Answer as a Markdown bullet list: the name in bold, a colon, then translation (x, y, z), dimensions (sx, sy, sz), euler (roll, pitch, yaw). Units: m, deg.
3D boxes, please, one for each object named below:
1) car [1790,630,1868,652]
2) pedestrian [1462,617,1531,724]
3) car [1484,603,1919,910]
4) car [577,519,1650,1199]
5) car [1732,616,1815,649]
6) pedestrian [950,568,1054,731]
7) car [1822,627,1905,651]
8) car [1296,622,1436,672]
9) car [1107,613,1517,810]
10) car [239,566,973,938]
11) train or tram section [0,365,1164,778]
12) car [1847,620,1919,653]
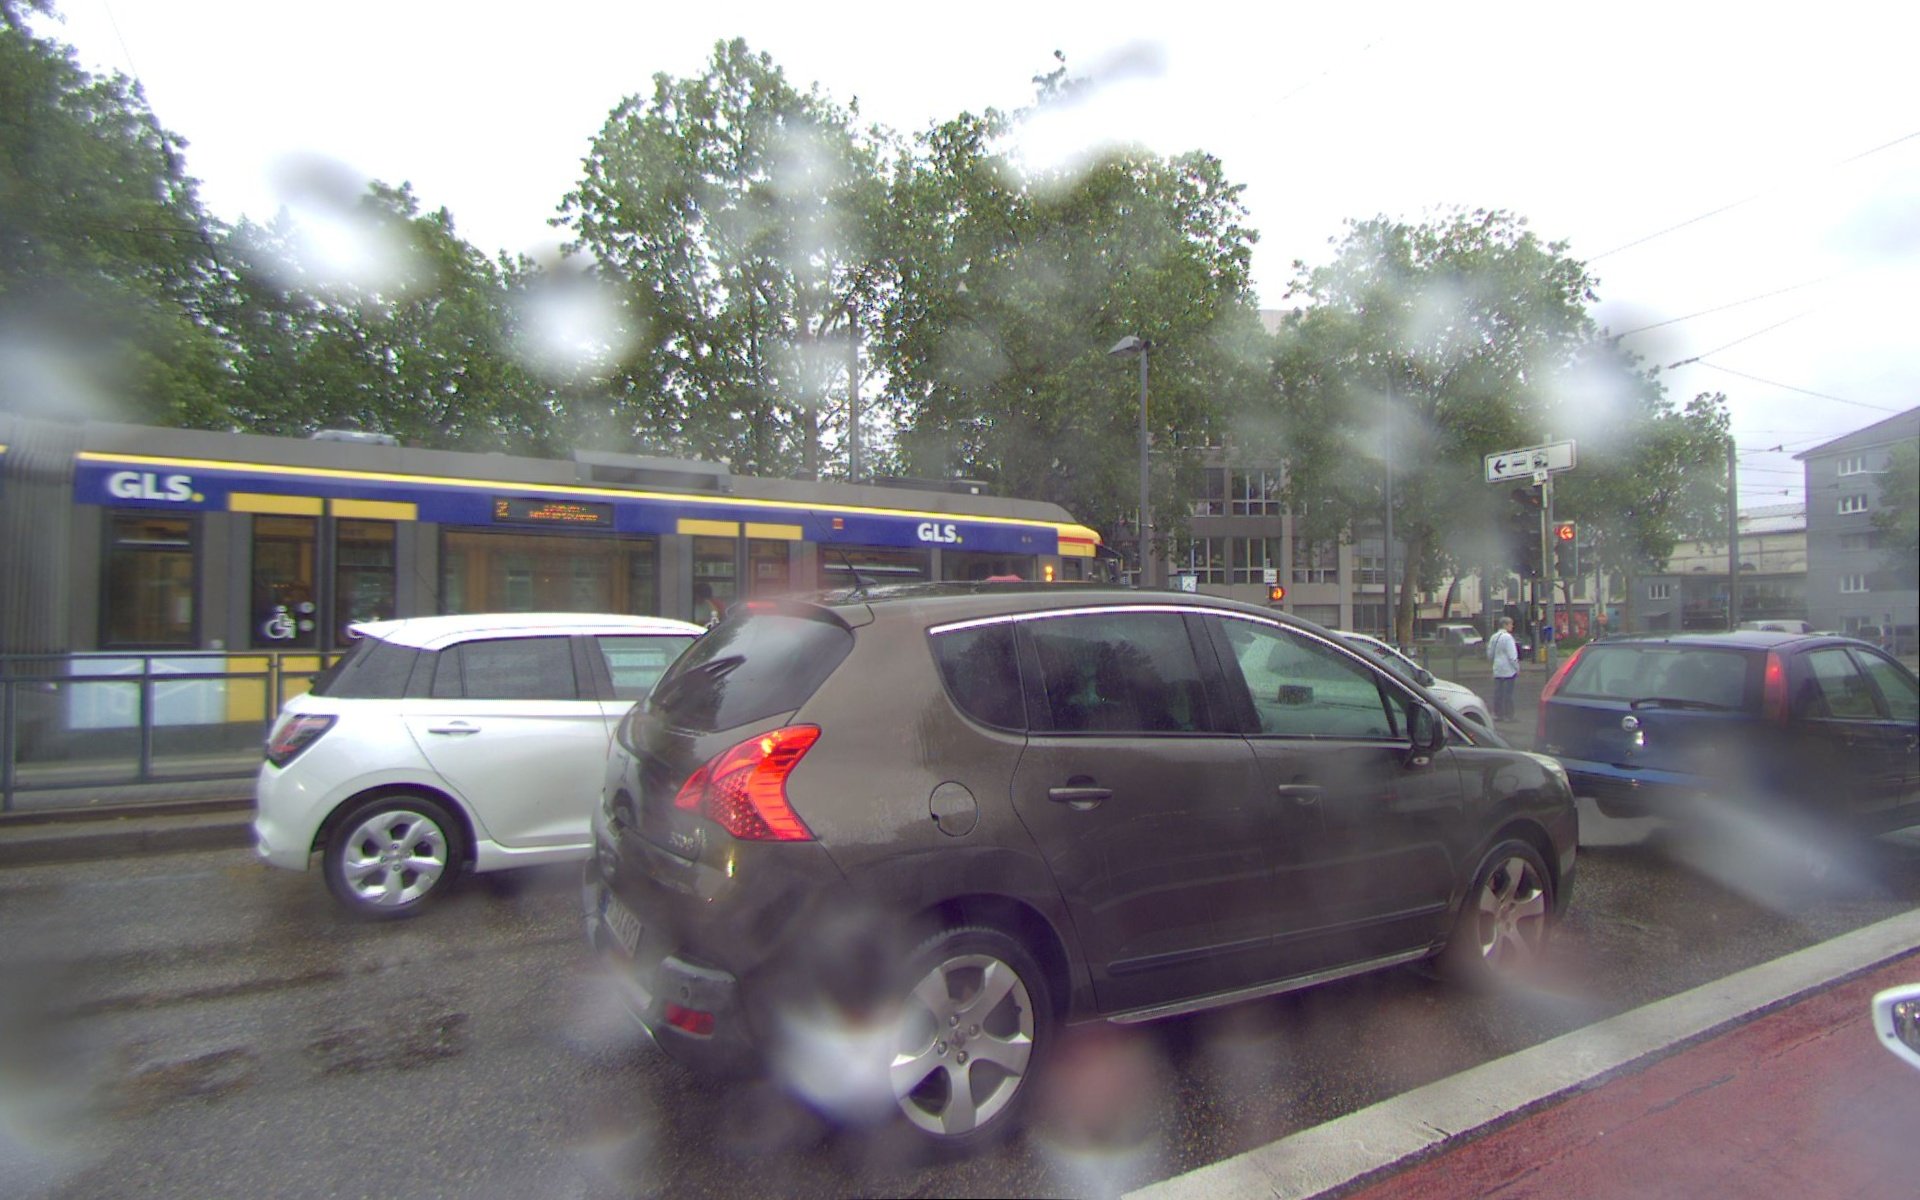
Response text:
- **car**: translation (61.316, 2.881, 70.906), dimensions (3.922, 1.516, 1.960), euler (0, 0, -3)
- **pedestrian**: translation (8.450, 1.094, 15.835), dimensions (0.731, 1.628, 0.623), euler (1, 0, -23)
- **car**: translation (5.584, 0.864, 6.967), dimensions (3.776, 1.599, 1.719), euler (2, -1, -30)
- **car**: translation (0.767, 0.708, 4.115), dimensions (4.124, 1.690, 1.825), euler (2, -1, -30)
- **car**: translation (59.643, 2.362, 73.648), dimensions (4.698, 2.228, 1.998), euler (0, 1, -6)
- **pedestrian**: translation (0.477, 0.561, 11.494), dimensions (0.888, 1.769, 0.762), euler (0, -3, -30)
- **car**: translation (61.562, 2.656, 68.463), dimensions (3.922, 1.550, 1.999), euler (0, 0, -3)
- **car**: translation (11.574, 1.335, 28.685), dimensions (3.466, 1.331, 1.594), euler (1, 0, -16)
- **car**: translation (3.368, 0.918, 9.465), dimensions (3.737, 1.514, 1.621), euler (2, -1, -30)
- **car**: translation (-1.958, 0.732, 6.146), dimensions (3.791, 1.650, 1.637), euler (2, -1, -30)
- **train or tram section**: translation (-4.367, -0.143, 12.740), dimensions (15.329, 3.458, 3.522), euler (1, 0, -32)
- **car**: translation (60.855, 2.408, 65.751), dimensions (3.923, 2.040, 1.999), euler (1, 0, -3)
